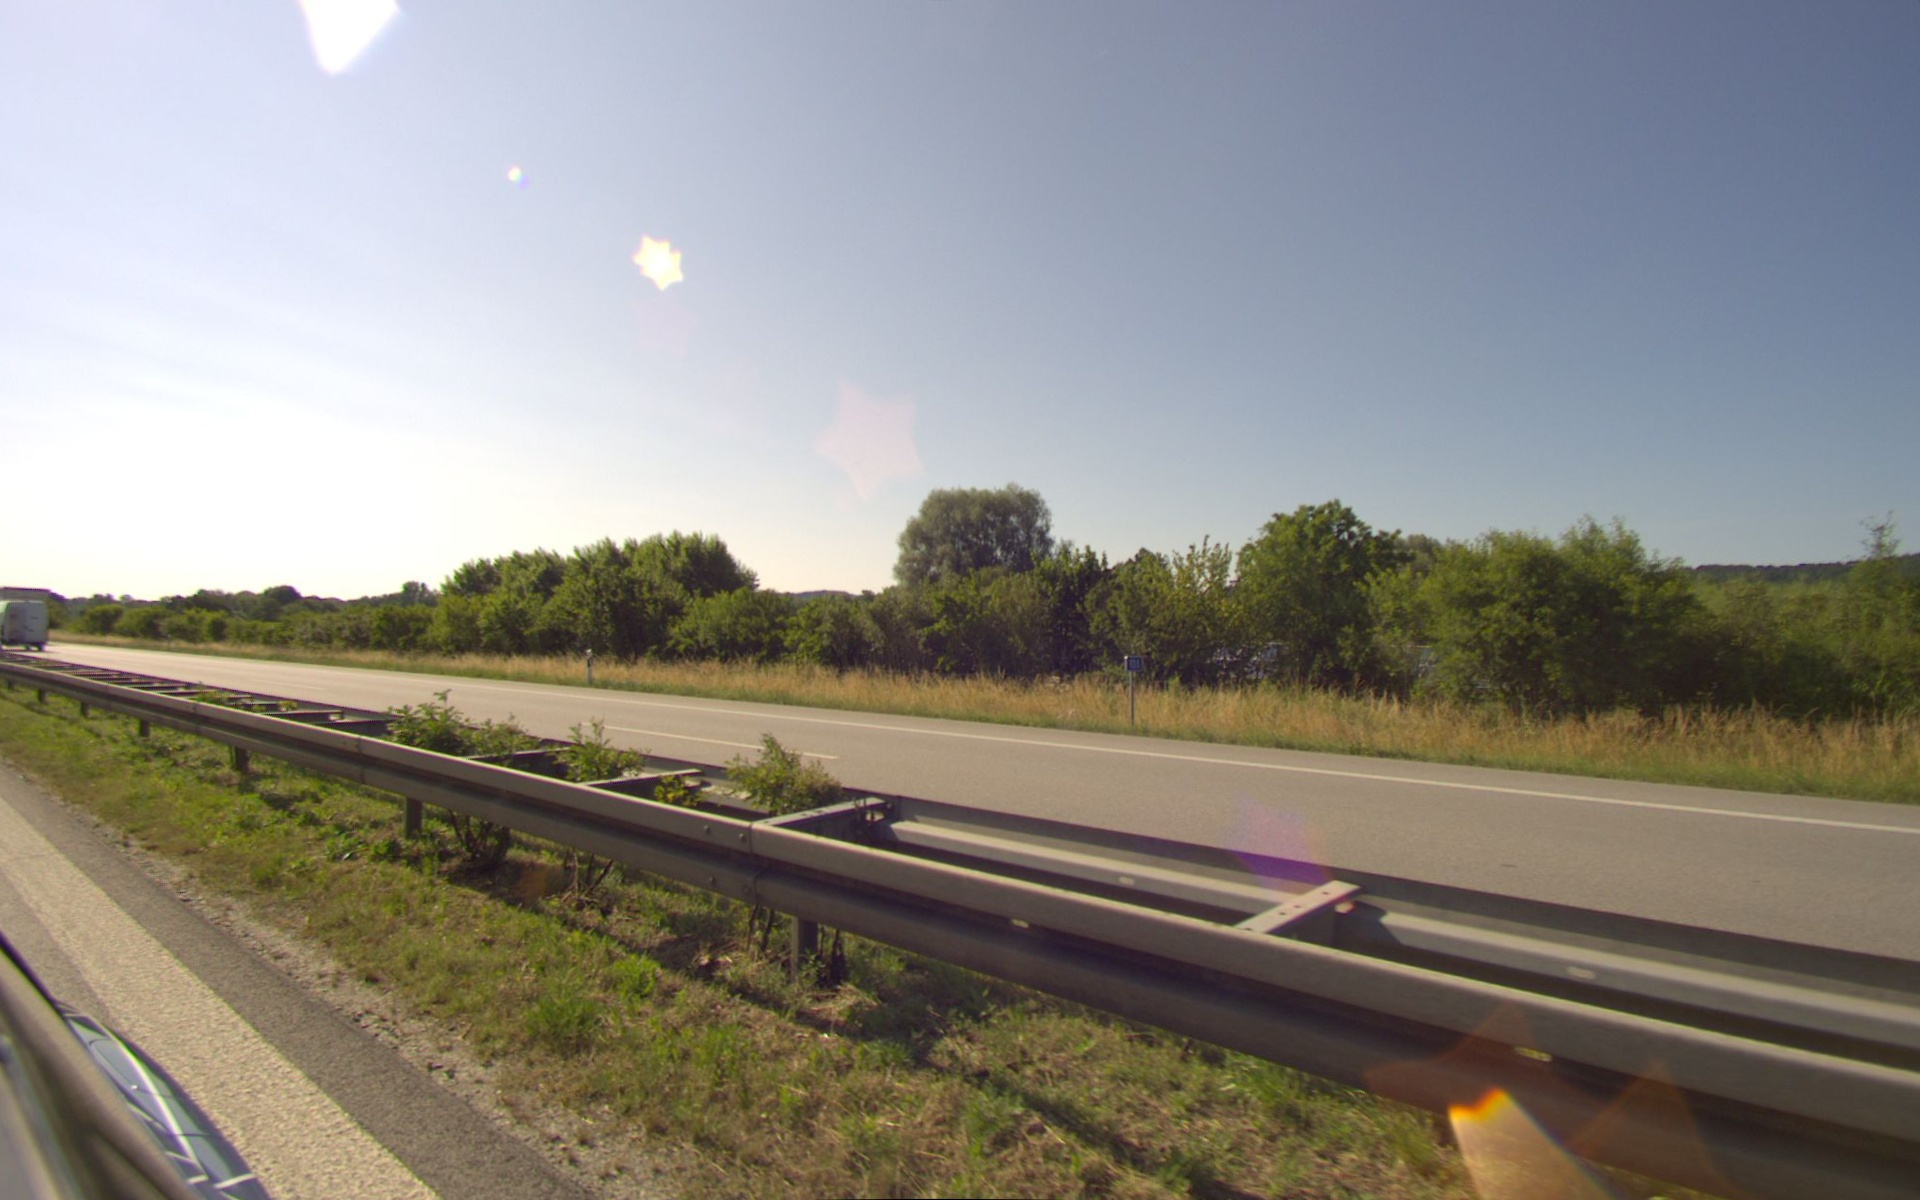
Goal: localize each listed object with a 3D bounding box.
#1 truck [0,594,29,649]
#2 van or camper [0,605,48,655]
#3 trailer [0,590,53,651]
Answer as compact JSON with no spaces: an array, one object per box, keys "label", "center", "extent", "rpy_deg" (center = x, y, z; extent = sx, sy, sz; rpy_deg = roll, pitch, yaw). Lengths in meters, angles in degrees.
[{"label":"truck","center":[-76.218,1.686,79.965],"extent":[6.386,4.145,3.135],"rpy_deg":[-1,-4,42]},{"label":"van or camper","center":[-50.960,1.588,54.349],"extent":[7.223,2.516,1.973],"rpy_deg":[-1,-4,41]},{"label":"trailer","center":[-70.952,1.551,75.344],"extent":[14.590,4.090,3.151],"rpy_deg":[-1,-4,41]}]
